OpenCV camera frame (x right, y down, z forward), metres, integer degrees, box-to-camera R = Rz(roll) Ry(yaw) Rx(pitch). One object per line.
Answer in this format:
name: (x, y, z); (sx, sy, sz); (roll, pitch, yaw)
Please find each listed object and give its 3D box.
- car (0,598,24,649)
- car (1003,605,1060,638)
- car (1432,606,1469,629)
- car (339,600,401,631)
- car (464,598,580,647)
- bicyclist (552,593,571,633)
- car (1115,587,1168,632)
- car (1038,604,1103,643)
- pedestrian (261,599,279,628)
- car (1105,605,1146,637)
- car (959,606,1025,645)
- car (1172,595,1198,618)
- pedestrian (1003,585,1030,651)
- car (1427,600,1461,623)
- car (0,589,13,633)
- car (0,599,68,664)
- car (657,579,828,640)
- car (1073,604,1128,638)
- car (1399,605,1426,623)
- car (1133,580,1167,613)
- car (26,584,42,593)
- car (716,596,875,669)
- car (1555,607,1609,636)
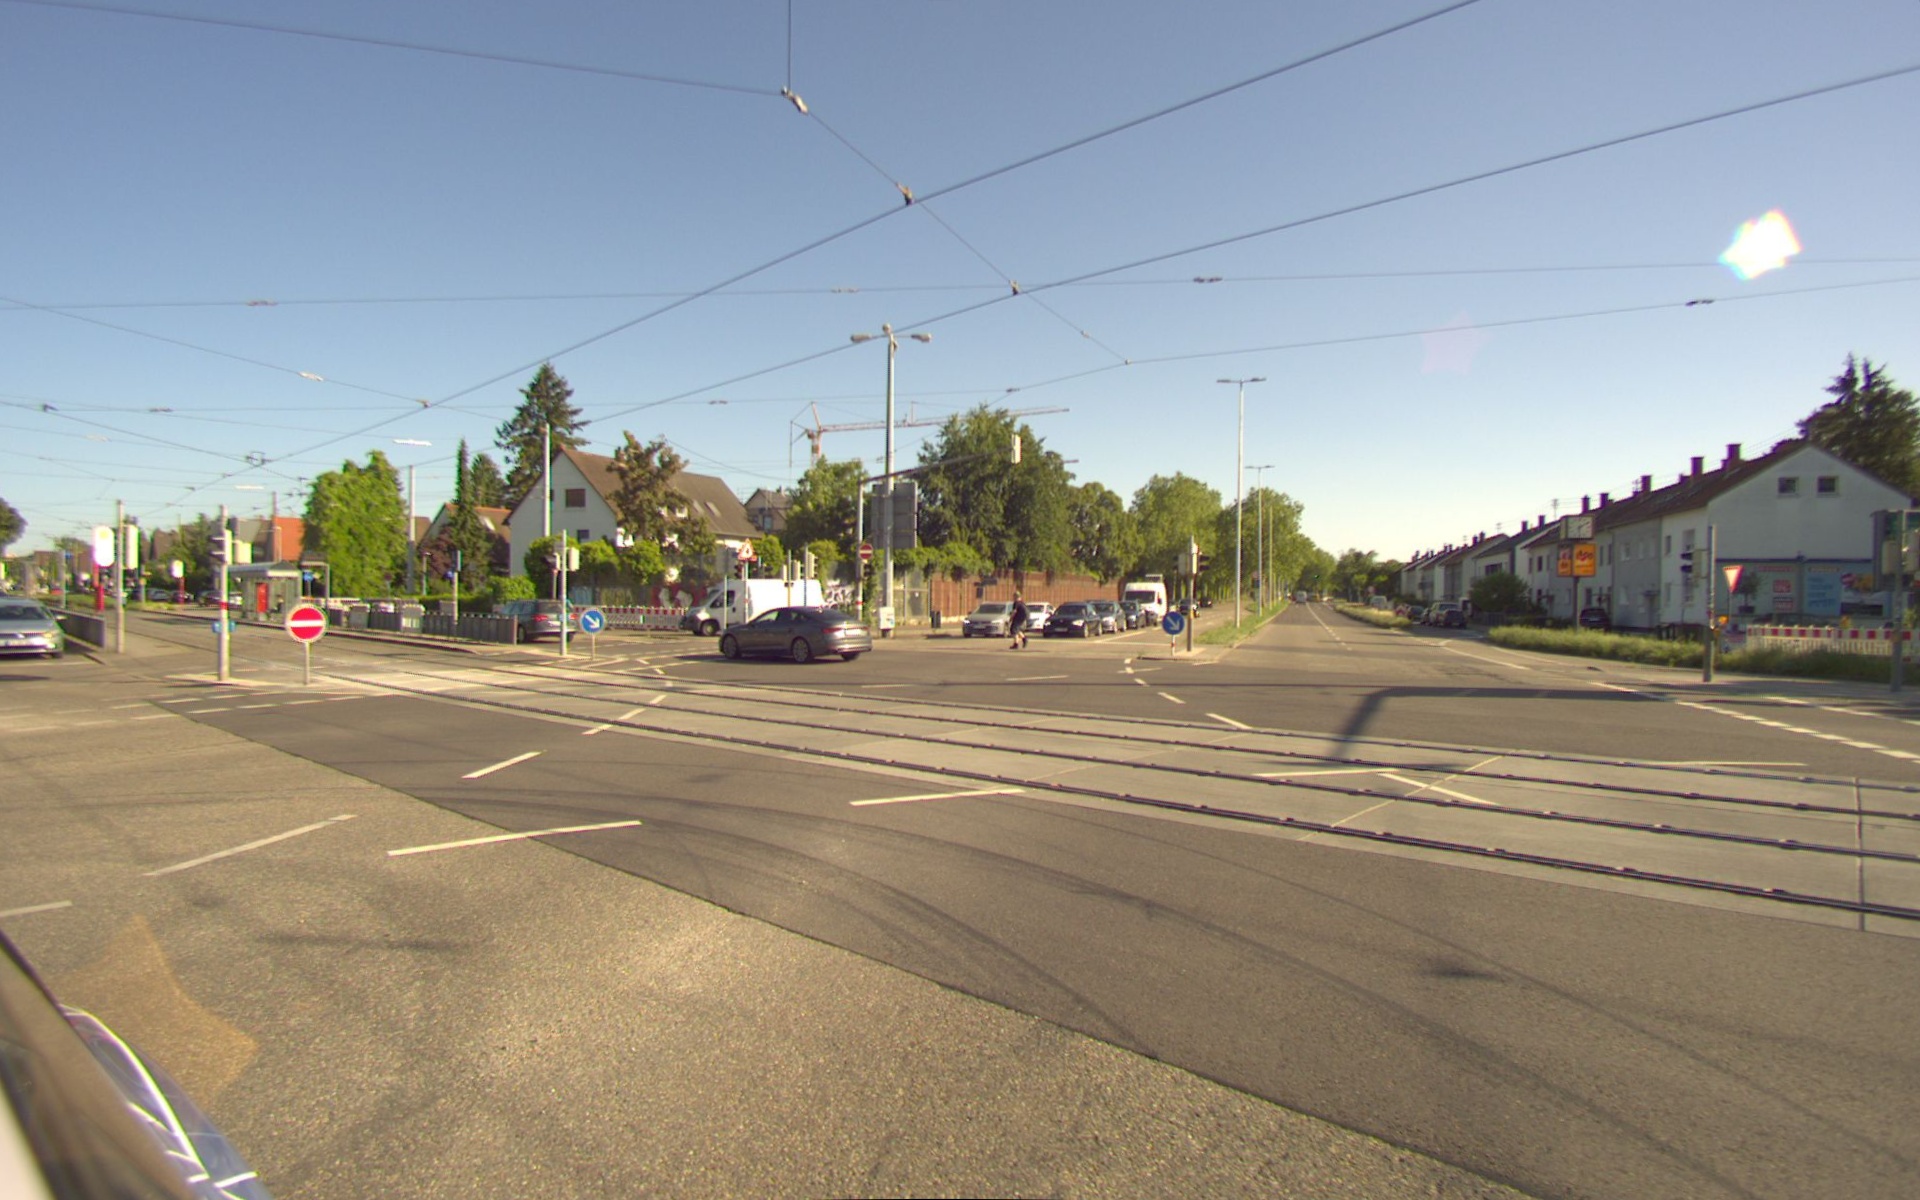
car: (-29.547, 0.687, 30.622); (3.415, 1.479, 1.564); (0, 0, 43)
car: (3.533, 1.022, 49.542); (1.921, 1.477, 4.342); (1, 0, 16)
car: (38.002, 1.325, 78.536); (1.983, 1.775, 3.977); (0, 0, 17)
car: (-28.810, 0.731, 49.392); (3.704, 1.469, 1.664); (0, 0, 44)
car: (-15.381, 0.745, 35.444); (4.689, 1.608, 1.795); (0, 0, 40)
bicyclist: (-16.192, 0.522, 41.085); (0.649, 1.620, 0.484); (0, 0, 44)
car: (10.421, 0.504, 57.786); (2.163, 2.429, 5.886); (0, 0, 18)
car: (4.517, 0.898, 40.985); (1.921, 1.477, 4.226); (0, 0, 16)
pedestrian: (-34.867, 0.671, 51.124); (0.711, 1.425, 0.615); (0, -1, 42)
car: (8.427, 1.027, 51.342); (1.485, 1.579, 3.506); (0, 0, 18)
car: (1.384, 1.000, 41.852); (1.658, 1.488, 4.611); (1, 0, 16)
car: (17.695, 0.473, 79.441); (1.791, 1.755, 3.981); (0, 0, 15)
pedestrian: (1.703, 0.540, 30.560); (0.765, 1.963, 0.611); (0, 0, 0)
car: (39.657, 0.912, 83.010); (1.983, 1.775, 3.977); (0, 0, 17)
car: (-39.002, 0.389, 40.090); (4.301, 1.709, 1.860); (1, 0, 43)
car: (-24.335, 0.756, 25.879); (4.421, 1.539, 1.856); (1, 0, 43)
car: (-9.277, 0.421, 43.284); (6.751, 2.476, 2.356); (1, 0, -24)
car: (6.446, 0.918, 46.182); (1.921, 1.477, 4.236); (-1, 0, 16)
car: (46.352, 1.446, 103.731); (1.983, 1.775, 3.977); (0, 0, 17)
car: (11.979, -0.195, 63.607); (1.792, 2.029, 3.979); (1, 0, 16)
car: (-172.580, -2.126, 188.650); (1.971, 1.785, 4.002); (1, 0, -45)
car: (-4.219, 0.769, 25.620); (3.997, 1.700, 1.774); (0, 0, 39)
car: (39.112, 1.322, 63.697); (1.983, 1.775, 3.977); (0, 0, 18)
